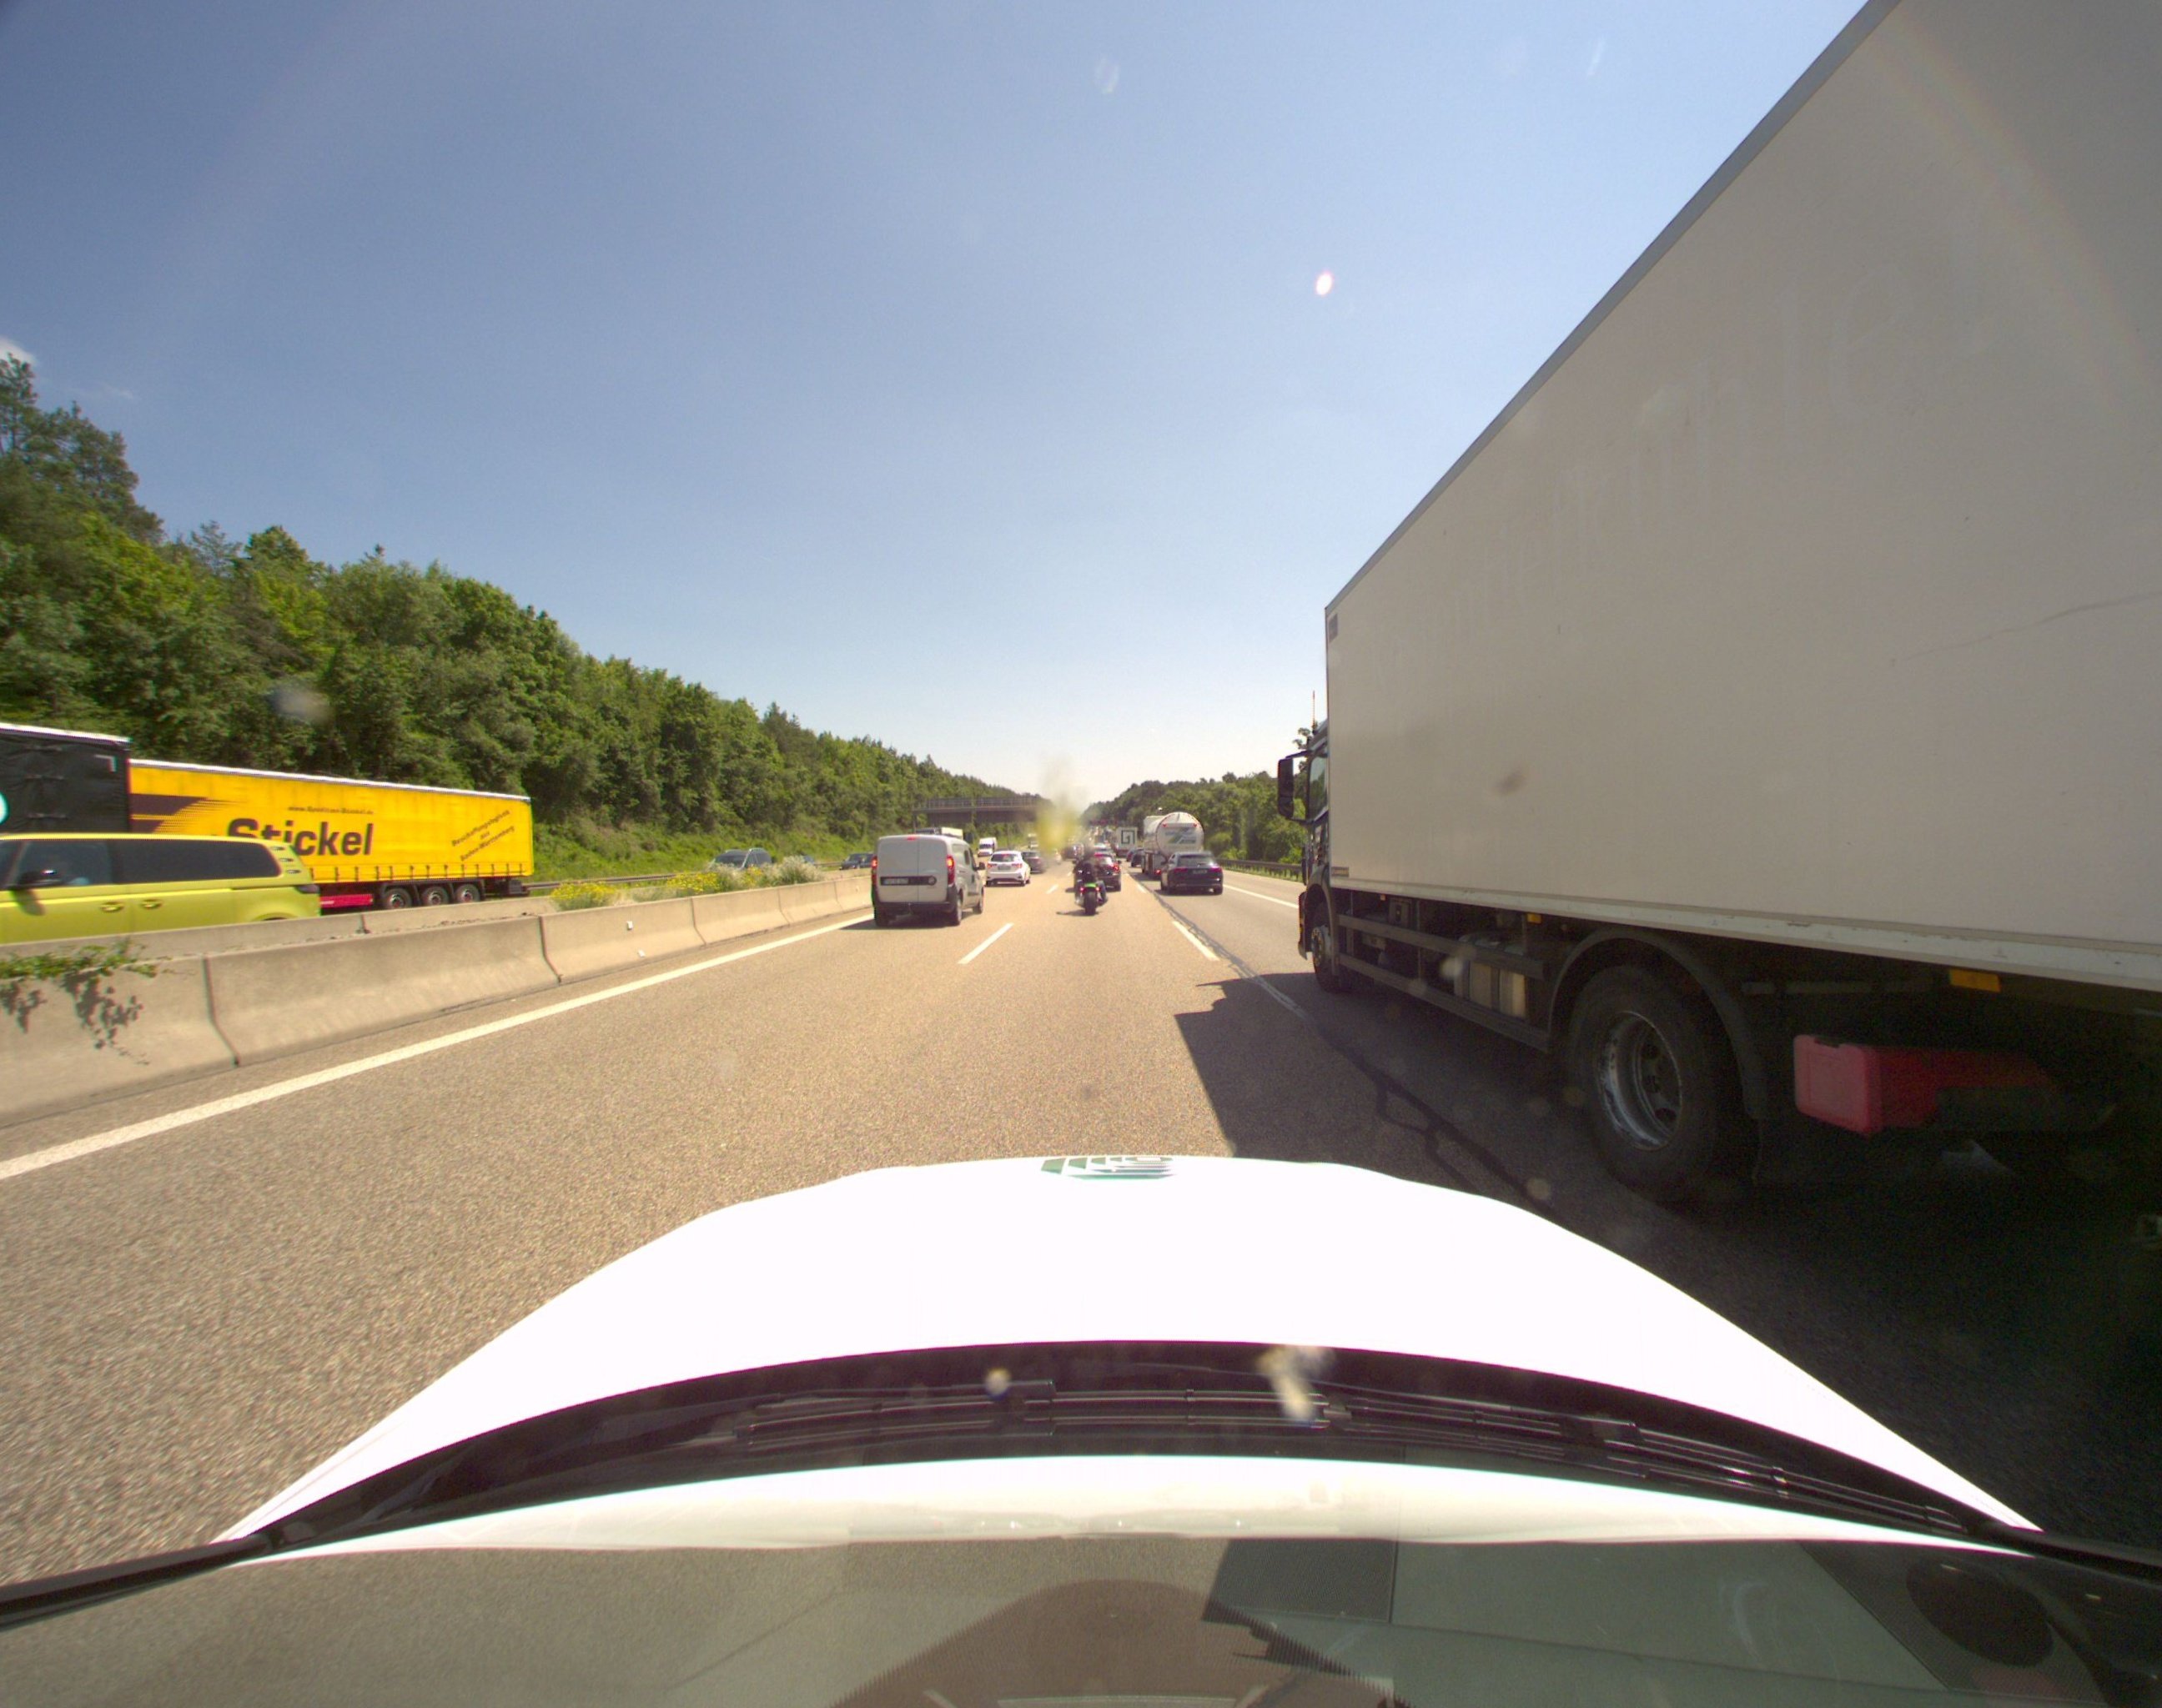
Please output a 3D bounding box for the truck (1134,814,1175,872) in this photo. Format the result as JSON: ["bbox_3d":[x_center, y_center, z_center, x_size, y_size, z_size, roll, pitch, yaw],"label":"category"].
[{"bbox_3d":[4.739,-0.646,53.330,1.988,3.522,4.749,-3,-1,-1],"label":"truck"}]

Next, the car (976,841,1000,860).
[{"bbox_3d":[-12.174,-0.455,107.245,1.986,2.377,7.367,-1,0,1],"label":"car"}]

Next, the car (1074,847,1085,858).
[{"bbox_3d":[-0.266,-0.316,154.208,1.986,2.013,4.001,-3,-1,1],"label":"car"}]

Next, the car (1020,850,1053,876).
[{"bbox_3d":[-2.731,0.515,50.871,1.693,1.478,4.001,-1,0,1],"label":"car"}]

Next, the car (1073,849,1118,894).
[{"bbox_3d":[0.537,0.626,31.263,1.527,1.510,4.000,-3,0,1],"label":"car"}]

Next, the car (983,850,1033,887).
[{"bbox_3d":[-3.147,0.603,35.822,1.693,1.478,4.001,-1,0,1],"label":"car"}]

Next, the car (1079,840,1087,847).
[{"bbox_3d":[0.430,-2.773,215.330,1.986,2.013,4.001,-1,0,1],"label":"car"}]

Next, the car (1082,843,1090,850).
[{"bbox_3d":[1.479,-2.102,235.154,1.986,2.013,4.002,-1,0,1],"label":"car"}]

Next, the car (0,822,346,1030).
[{"bbox_3d":[-11.359,0.775,9.177,1.873,2.013,4.470,-5,-1,2],"label":"car"}]

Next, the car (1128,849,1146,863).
[{"bbox_3d":[6.098,0.194,88.680,1.780,1.374,3.804,-1,0,1],"label":"car"}]

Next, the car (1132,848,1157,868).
[{"bbox_3d":[5.094,0.319,66.019,1.780,1.555,3.804,-1,0,1],"label":"car"}]

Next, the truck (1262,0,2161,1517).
[{"bbox_3d":[3.614,-0.628,5.443,2.678,3.876,9.784,-4,0,2],"label":"truck"}]

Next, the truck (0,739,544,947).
[{"bbox_3d":[-22.067,-0.092,22.726,3.026,3.983,16.268,-2,-1,1],"label":"truck"}]

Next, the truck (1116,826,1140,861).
[{"bbox_3d":[6.363,-1.418,111.529,3.022,4.542,9.986,0,0,1],"label":"truck"}]

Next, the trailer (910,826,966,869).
[{"bbox_3d":[-16.874,-0.687,97.341,3.711,4.528,13.334,-3,-1,1],"label":"trailer"}]

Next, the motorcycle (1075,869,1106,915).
[{"bbox_3d":[0.258,0.899,20.004,0.688,1.015,2.123,-1,0,3],"label":"motorcycle"}]

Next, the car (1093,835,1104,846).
[{"bbox_3d":[4.201,-3.263,196.567,2.495,2.587,5.018,-1,0,1],"label":"car"}]

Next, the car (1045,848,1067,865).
[{"bbox_3d":[-2.263,0.227,74.360,1.693,1.478,4.001,-1,0,1],"label":"car"}]

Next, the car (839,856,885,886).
[{"bbox_3d":[-13.410,1.023,50.015,1.636,1.627,3.544,-3,-1,2],"label":"car"}]

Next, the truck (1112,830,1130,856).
[{"bbox_3d":[7.320,-1.993,151.162,3.022,4.542,9.986,0,0,1],"label":"truck"}]

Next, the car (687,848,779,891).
[{"bbox_3d":[-14.247,0.624,33.644,1.679,1.558,4.423,-3,-1,2],"label":"car"}]

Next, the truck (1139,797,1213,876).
[{"bbox_3d":[4.940,-0.801,44.348,2.977,3.671,9.290,-3,-1,1],"label":"truck"}]

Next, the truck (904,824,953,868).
[{"bbox_3d":[-17.011,-0.852,91.442,3.712,4.528,7.326,-3,-1,1],"label":"truck"}]

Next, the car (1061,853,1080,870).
[{"bbox_3d":[-1.310,0.917,102.284,1.986,2.013,4.002,-3,-1,2],"label":"car"}]

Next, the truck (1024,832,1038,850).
[{"bbox_3d":[-14.050,-3.658,230.378,2.755,4.740,10.475,-1,0,1],"label":"truck"}]

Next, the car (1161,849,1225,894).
[{"bbox_3d":[3.894,0.579,28.971,1.822,1.470,4.001,-1,0,1],"label":"car"}]

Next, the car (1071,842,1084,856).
[{"bbox_3d":[-0.547,-0.799,130.260,1.922,2.013,4.002,-3,-1,2],"label":"car"}]

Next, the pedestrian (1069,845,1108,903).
[{"bbox_3d":[0.197,0.476,20.235,0.846,1.361,0.962,-3,0,2],"label":"pedestrian"}]

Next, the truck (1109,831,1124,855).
[{"bbox_3d":[7.857,-2.447,181.748,3.022,5.139,9.986,0,0,1],"label":"truck"}]

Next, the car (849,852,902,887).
[{"bbox_3d":[-10.545,0.770,42.005,1.636,1.627,3.544,-3,-1,2],"label":"car"}]

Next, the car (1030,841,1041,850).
[{"bbox_3d":[-10.562,-1.999,189.263,1.873,2.013,4.470,-5,-1,2],"label":"car"}]

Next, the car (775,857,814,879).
[{"bbox_3d":[-20.978,1.015,59.764,1.404,1.508,3.709,-1,0,2],"label":"car"}]

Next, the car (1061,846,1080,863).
[{"bbox_3d":[-1.181,0.025,93.072,1.873,1.859,4.002,-1,0,2],"label":"car"}]

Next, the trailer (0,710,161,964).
[{"bbox_3d":[-18.429,-0.228,7.871,2.896,3.974,13.891,-3,-1,1],"label":"trailer"}]

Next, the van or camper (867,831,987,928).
[{"bbox_3d":[-3.307,0.531,18.280,1.789,1.892,4.160,-1,-1,1],"label":"van or camper"}]
